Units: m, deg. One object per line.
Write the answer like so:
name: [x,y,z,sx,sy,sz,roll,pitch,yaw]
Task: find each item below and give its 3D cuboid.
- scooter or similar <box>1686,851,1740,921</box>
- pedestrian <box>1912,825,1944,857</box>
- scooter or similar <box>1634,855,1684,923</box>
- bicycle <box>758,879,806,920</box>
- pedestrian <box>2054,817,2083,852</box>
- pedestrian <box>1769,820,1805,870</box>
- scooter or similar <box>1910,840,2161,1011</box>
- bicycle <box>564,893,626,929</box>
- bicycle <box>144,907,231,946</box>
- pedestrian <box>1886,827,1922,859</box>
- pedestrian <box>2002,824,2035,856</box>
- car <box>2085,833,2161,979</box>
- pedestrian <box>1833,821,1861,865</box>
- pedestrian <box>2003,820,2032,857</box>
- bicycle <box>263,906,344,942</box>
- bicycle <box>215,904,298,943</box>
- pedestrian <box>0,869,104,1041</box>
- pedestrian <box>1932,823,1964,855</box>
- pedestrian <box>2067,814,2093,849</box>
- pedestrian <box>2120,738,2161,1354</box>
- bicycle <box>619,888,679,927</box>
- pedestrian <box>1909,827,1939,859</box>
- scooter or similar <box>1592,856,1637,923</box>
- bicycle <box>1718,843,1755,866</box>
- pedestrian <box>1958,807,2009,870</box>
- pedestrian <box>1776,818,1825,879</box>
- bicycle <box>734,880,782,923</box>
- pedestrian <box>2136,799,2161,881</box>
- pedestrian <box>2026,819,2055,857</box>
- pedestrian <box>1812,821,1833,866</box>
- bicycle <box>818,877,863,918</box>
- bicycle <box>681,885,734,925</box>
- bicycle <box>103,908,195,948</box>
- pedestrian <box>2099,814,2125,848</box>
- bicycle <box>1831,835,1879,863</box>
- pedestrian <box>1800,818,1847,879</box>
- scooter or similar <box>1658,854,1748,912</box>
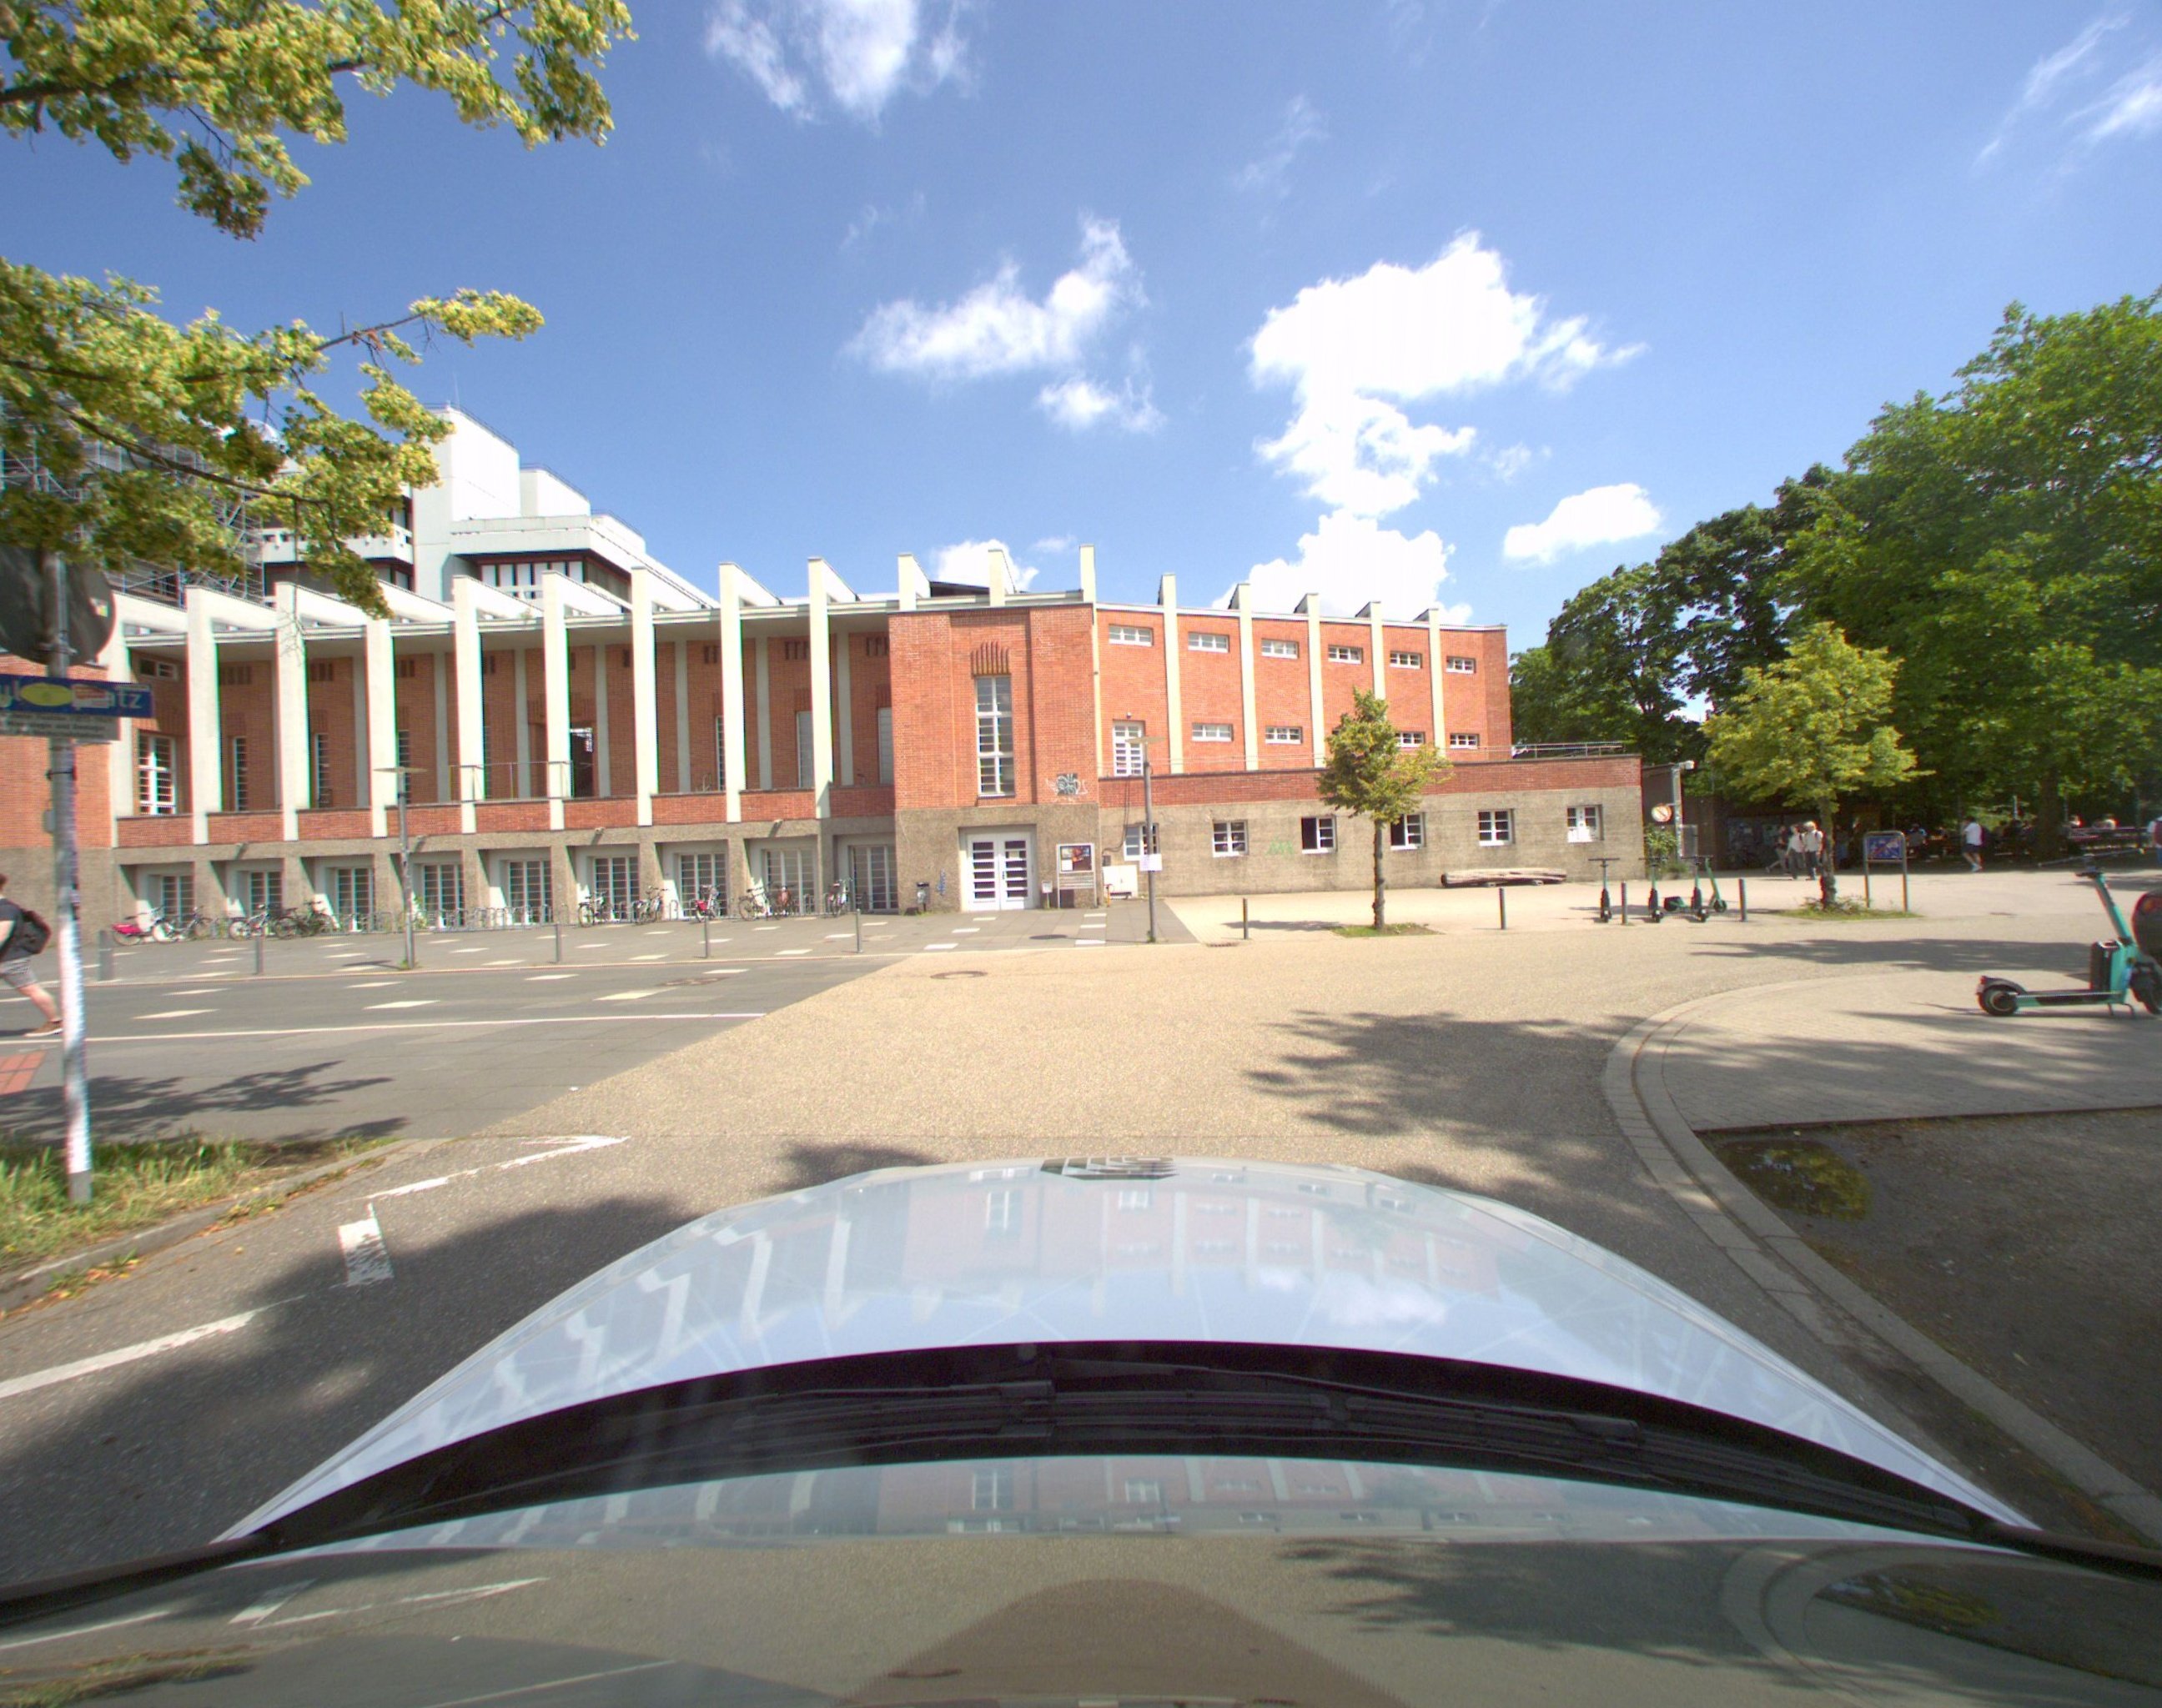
scooter or similar: [11.892,0.574,15.351,0.517,1.225,1.585,-2,0,29]
pedestrian: [34.421,-0.518,33.113,0.688,1.271,0.562,-2,0,2]
scooter or similar: [11.033,0.643,15.579,0.558,1.225,1.585,-2,0,29]
bicycle: [-9.084,1.359,24.830,0.588,1.125,2.030,-2,0,3]
pedestrian: [37.206,-0.729,30.676,0.745,1.233,0.589,-4,1,-33]
pedestrian: [24.818,-0.300,28.639,0.869,1.720,0.492,-1,-1,30]
scooter or similar: [7.494,0.540,6.335,1.369,1.254,0.556,-2,-1,10]
bicycle: [-14.973,1.731,25.160,0.680,0.960,1.957,-2,0,1]
bicycle: [-27.872,2.237,25.443,0.515,1.030,1.957,-2,0,1]
pedestrian: [34.461,-0.447,34.112,0.772,1.323,0.690,-2,-1,3]
pedestrian: [38.497,-0.573,33.441,0.765,1.250,0.568,-2,0,-10]
car: [11.526,0.387,6.816,3.971,1.280,1.715,-2,0,2]
pedestrian: [29.073,-0.421,30.912,0.505,1.650,0.671,-4,1,-37]
pedestrian: [36.298,-0.586,31.558,0.707,1.369,0.589,-4,1,-33]
bicycle: [-24.009,2.152,25.200,0.565,0.940,1.957,-2,0,1]
bicycle: [-25.512,2.131,25.259,0.526,1.030,1.957,-2,0,1]
pedestrian: [-11.784,1.094,8.888,1.009,1.800,1.178,-4,-3,22]
pedestrian: [35.393,-0.595,33.258,0.688,1.271,0.562,-2,0,2]
pedestrian: [43.602,-0.987,35.542,0.472,1.522,0.505,-2,0,-9]
pedestrian: [3.336,0.535,2.036,0.637,1.745,0.583,-2,-1,4]
bicycle: [-13.198,1.614,24.951,0.659,1.061,2.028,-2,0,1]
pedestrian: [35.462,-0.450,34.264,0.555,1.323,0.647,-2,-1,3]
scooter or similar: [10.359,0.666,15.840,0.563,1.225,1.585,-2,0,29]
bicycle: [26.952,0.009,33.488,1.222,0.883,0.305,-2,0,3]
pedestrian: [26.417,-0.438,23.848,0.869,1.820,0.452,-1,-1,30]
pedestrian: [21.863,-0.167,24.766,0.911,1.779,0.577,-2,0,1]
bicycle: [-9.824,1.413,24.838,0.435,1.125,2.032,-2,1,6]
pedestrian: [24.918,-0.341,18.589,0.881,1.835,0.846,-4,1,-29]
pedestrian: [36.326,-0.607,30.840,0.745,1.369,0.589,-4,1,-33]
pedestrian: [28.409,-0.398,31.208,0.451,1.710,0.524,-4,1,-42]
bicycle: [-7.274,1.305,24.719,0.662,1.125,2.028,-2,0,1]
bicycle: [-11.376,1.520,24.870,0.617,1.082,2.017,-2,0,1]
bicycle: [-28.889,2.272,25.294,0.538,1.030,1.957,-2,0,1]
pedestrian: [43.744,-0.957,34.546,0.458,1.422,0.505,-2,0,-8]
bicycle: [30.603,-0.197,32.226,0.419,1.077,1.333,0,-1,-42]
pedestrian: [22.015,-0.154,24.146,0.800,1.762,0.565,-2,0,1]
scooter or similar: [12.850,0.590,16.856,1.336,1.149,0.567,-2,0,13]
